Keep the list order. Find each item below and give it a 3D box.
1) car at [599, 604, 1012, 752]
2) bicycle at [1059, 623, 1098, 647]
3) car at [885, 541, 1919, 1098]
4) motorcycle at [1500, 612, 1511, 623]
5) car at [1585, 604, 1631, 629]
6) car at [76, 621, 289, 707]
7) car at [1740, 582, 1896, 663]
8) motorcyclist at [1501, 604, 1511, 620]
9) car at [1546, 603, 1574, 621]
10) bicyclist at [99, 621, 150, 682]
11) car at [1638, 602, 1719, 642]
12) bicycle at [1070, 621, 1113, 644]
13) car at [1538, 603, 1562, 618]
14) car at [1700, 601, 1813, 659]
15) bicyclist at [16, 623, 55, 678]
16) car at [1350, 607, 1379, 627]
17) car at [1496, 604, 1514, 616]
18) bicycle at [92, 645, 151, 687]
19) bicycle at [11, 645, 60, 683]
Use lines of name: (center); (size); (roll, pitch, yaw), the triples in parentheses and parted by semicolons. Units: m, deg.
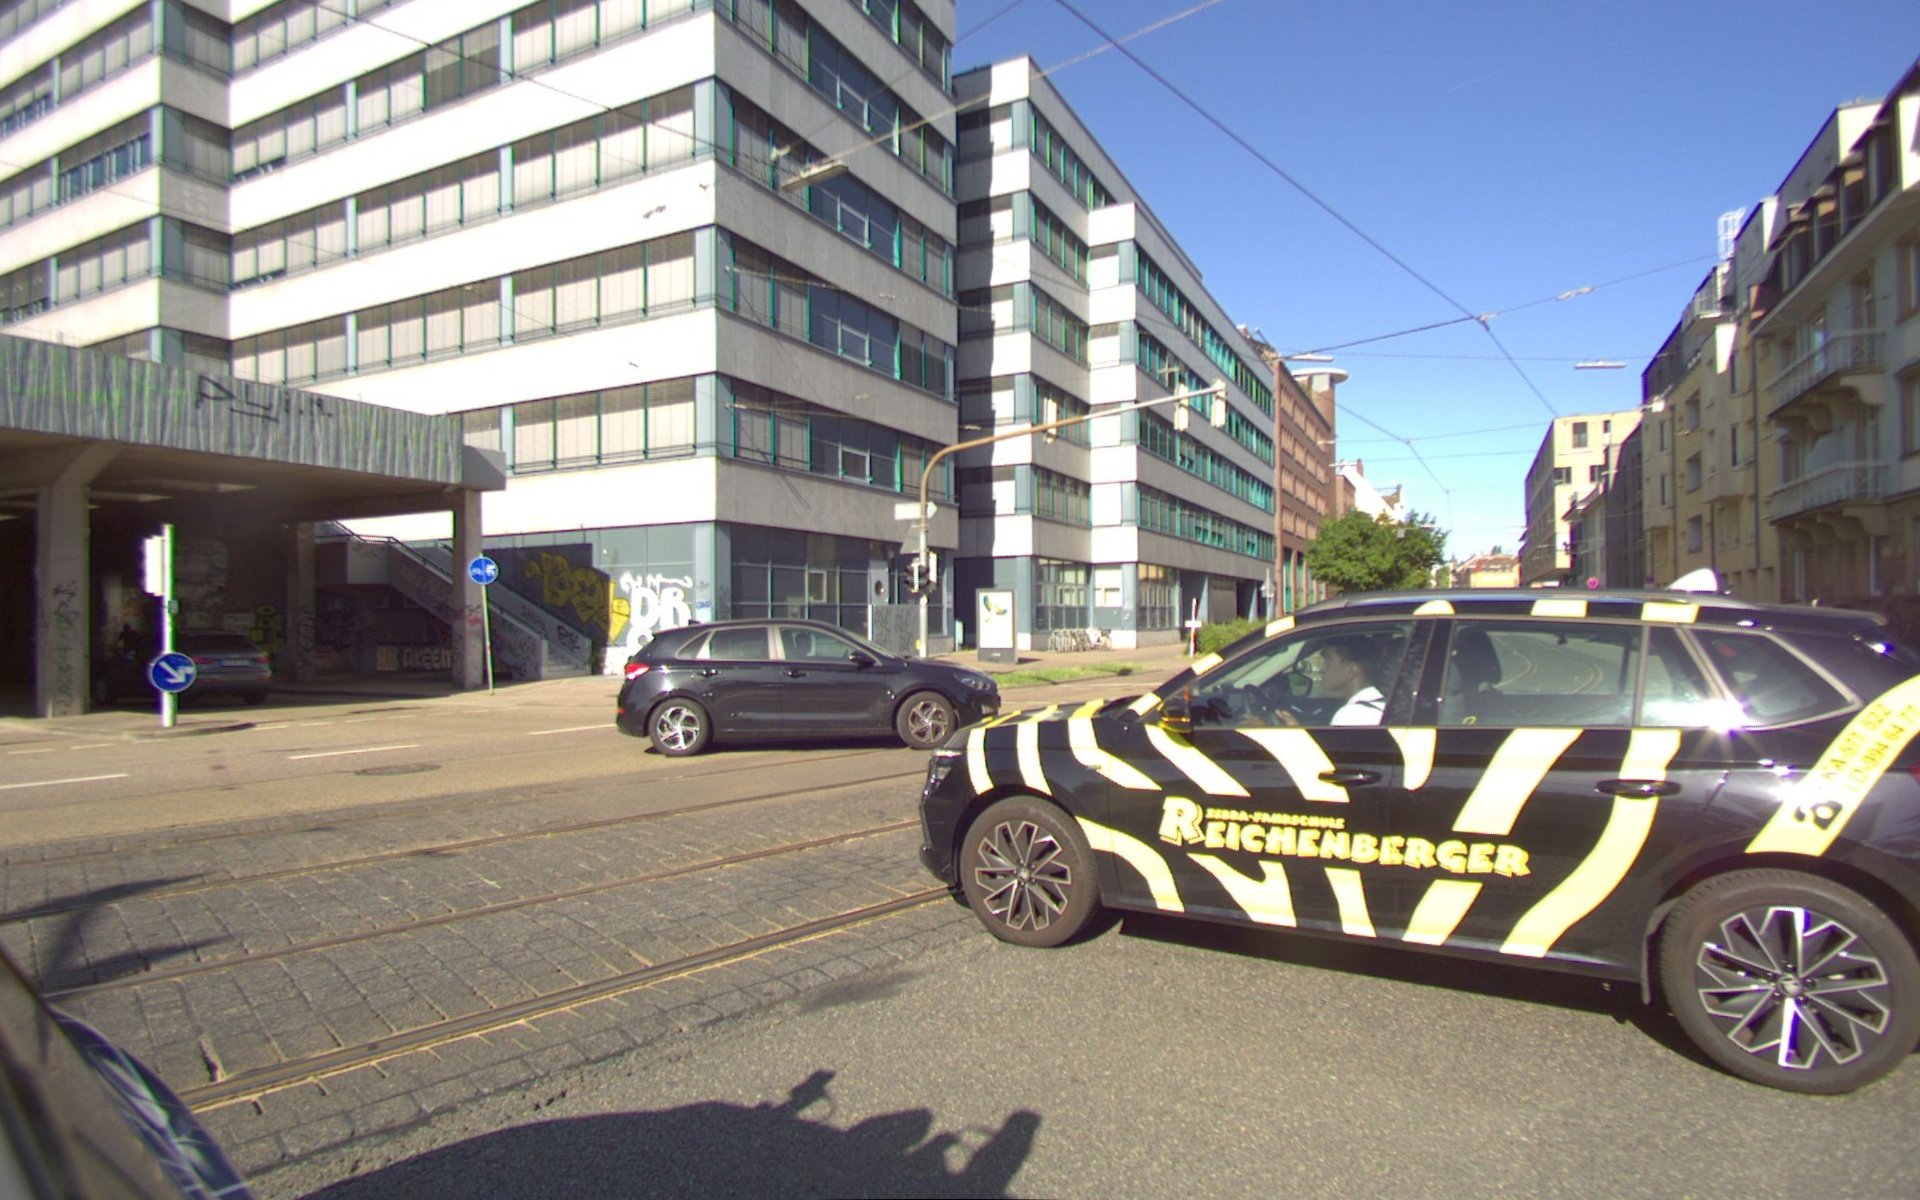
car: (-1.650, 0.816, 11.456); (4.262, 1.462, 1.808); (-1, -1, -3)
bicycle: (5.133, 1.502, 43.779); (1.662, 0.988, 0.481); (-1, 0, 37)
car: (1.862, 0.635, 4.300); (4.102, 1.525, 1.775); (-1, -1, 32)
motorcycle: (65.225, 2.072, 120.942); (0.911, 1.242, 2.741); (-1, -1, 24)
car: (37.381, 0.937, 58.468); (1.956, 1.373, 3.803); (-3, -2, 29)
car: (-16.199, 1.281, 21.075); (4.125, 1.622, 1.874); (-1, -1, 26)
car: (20.241, 0.501, 24.080); (1.954, 1.737, 4.133); (-1, -1, 28)
motorcyclist: (65.149, 1.459, 120.817); (0.937, 1.884, 1.047); (-1, -1, 23)
car: (48.660, 0.944, 82.087); (1.796, 1.373, 3.676); (-3, -2, 29)
bicyclist: (-23.441, 1.438, 28.403); (1.026, 1.673, 0.777); (-2, -1, 27)
car: (27.031, 0.821, 38.202); (1.991, 1.373, 3.803); (-3, -2, 29)
bicycle: (5.784, 1.435, 44.689); (1.896, 0.988, 0.481); (-1, 0, 37)
car: (55.577, 1.007, 95.421); (1.796, 1.339, 3.676); (-3, -2, 29)
car: (22.968, 0.814, 29.350); (1.890, 1.552, 3.853); (-1, -1, 28)
bicyclist: (-28.485, 1.546, 31.185); (0.905, 1.645, 0.602); (-2, -1, 28)
car: (32.833, 1.370, 82.107); (1.772, 1.614, 3.962); (-1, -1, 28)
car: (65.825, 1.220, 122.216); (1.796, 1.373, 3.676); (-3, -2, 29)
bicycle: (-23.564, 1.838, 28.434); (2.048, 1.131, 0.538); (-2, -1, 27)
bicycle: (-28.488, 1.962, 31.169); (1.851, 1.098, 0.522); (-1, -1, 28)
